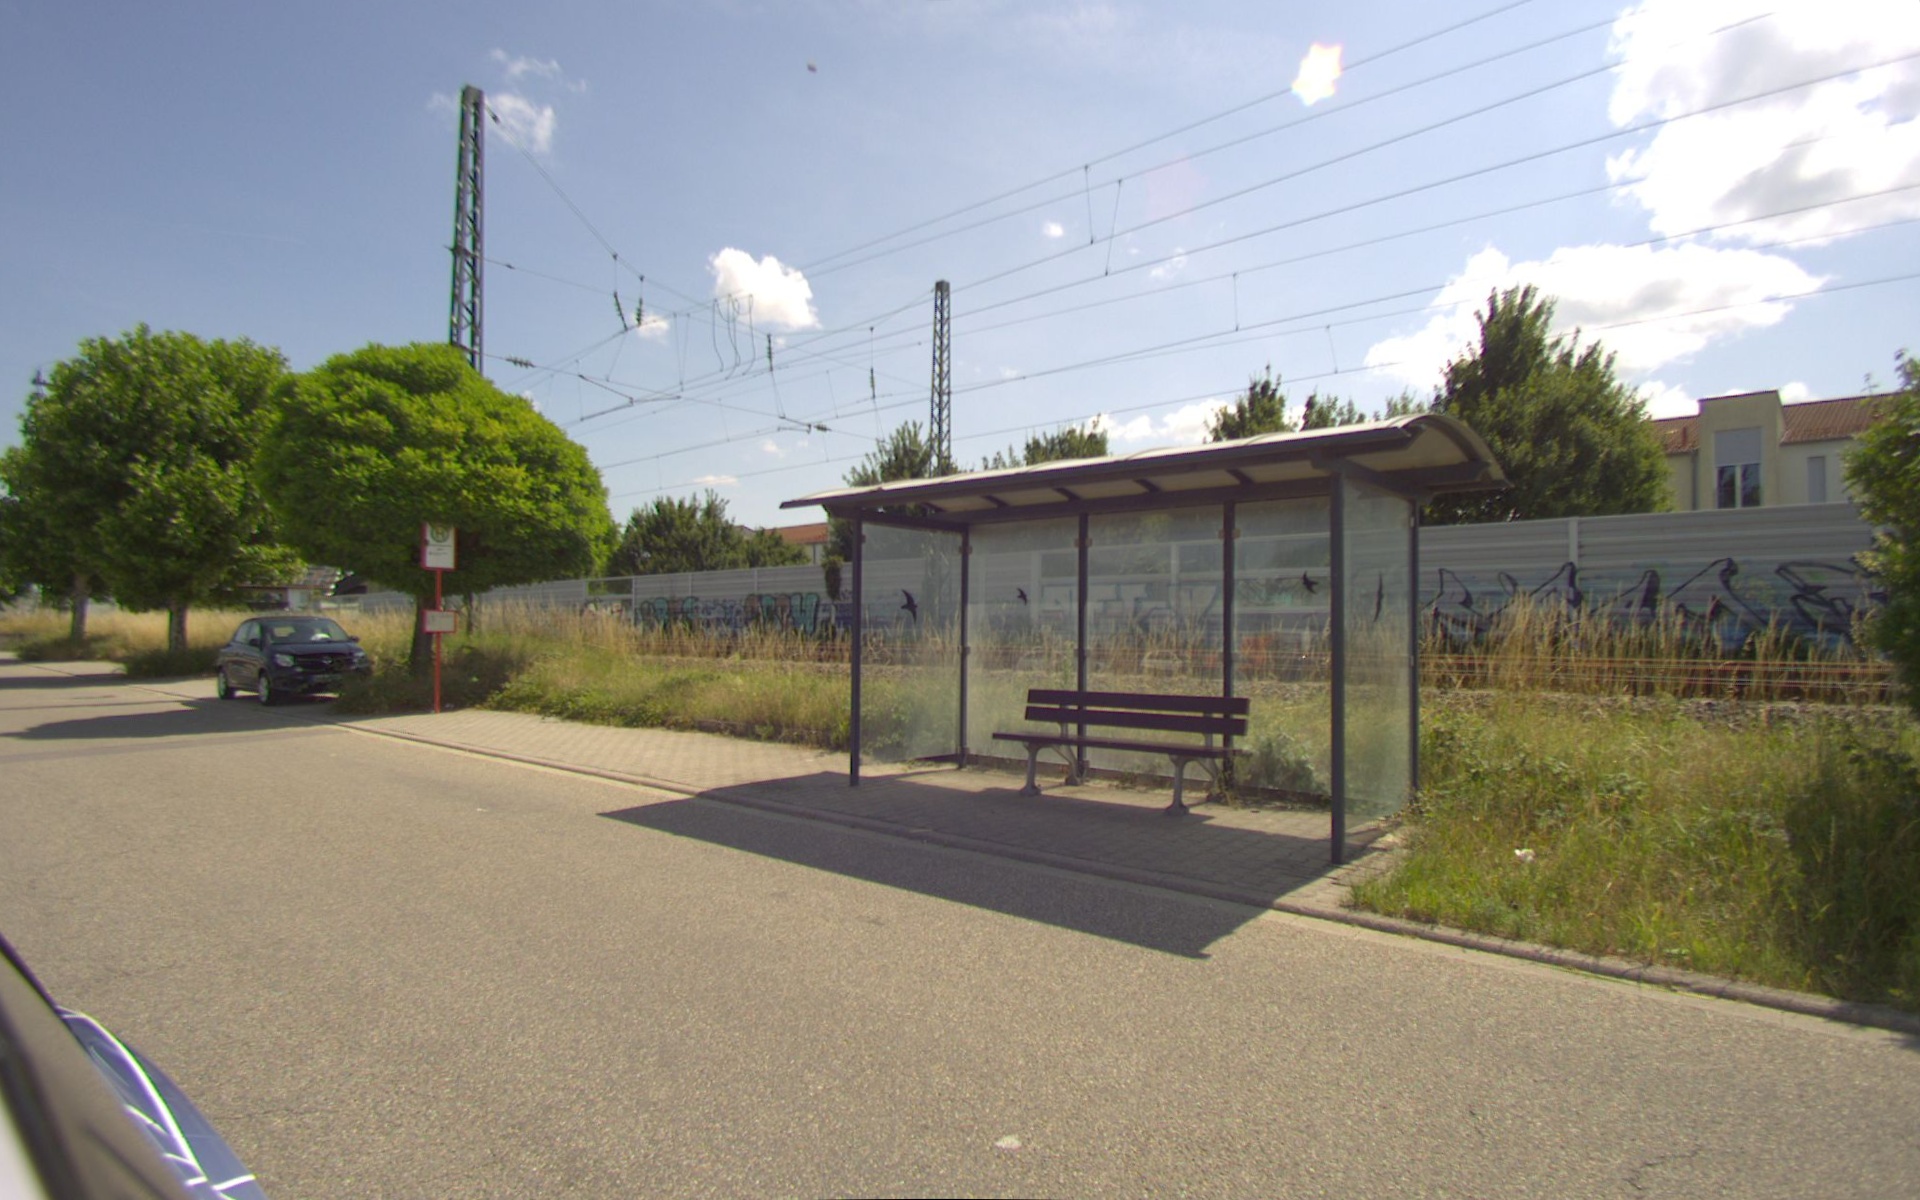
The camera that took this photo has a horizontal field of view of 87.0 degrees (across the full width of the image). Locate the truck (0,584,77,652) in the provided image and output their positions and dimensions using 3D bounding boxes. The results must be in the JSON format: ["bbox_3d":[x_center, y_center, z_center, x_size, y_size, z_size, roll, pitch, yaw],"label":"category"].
[{"bbox_3d":[-55.877,1.053,58.735,2.659,3.852,6.553,-2,-2,36],"label":"truck"}]

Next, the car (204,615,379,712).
[{"bbox_3d":[-12.351,1.103,18.644,3.576,1.608,1.724,-2,-2,39],"label":"car"}]
